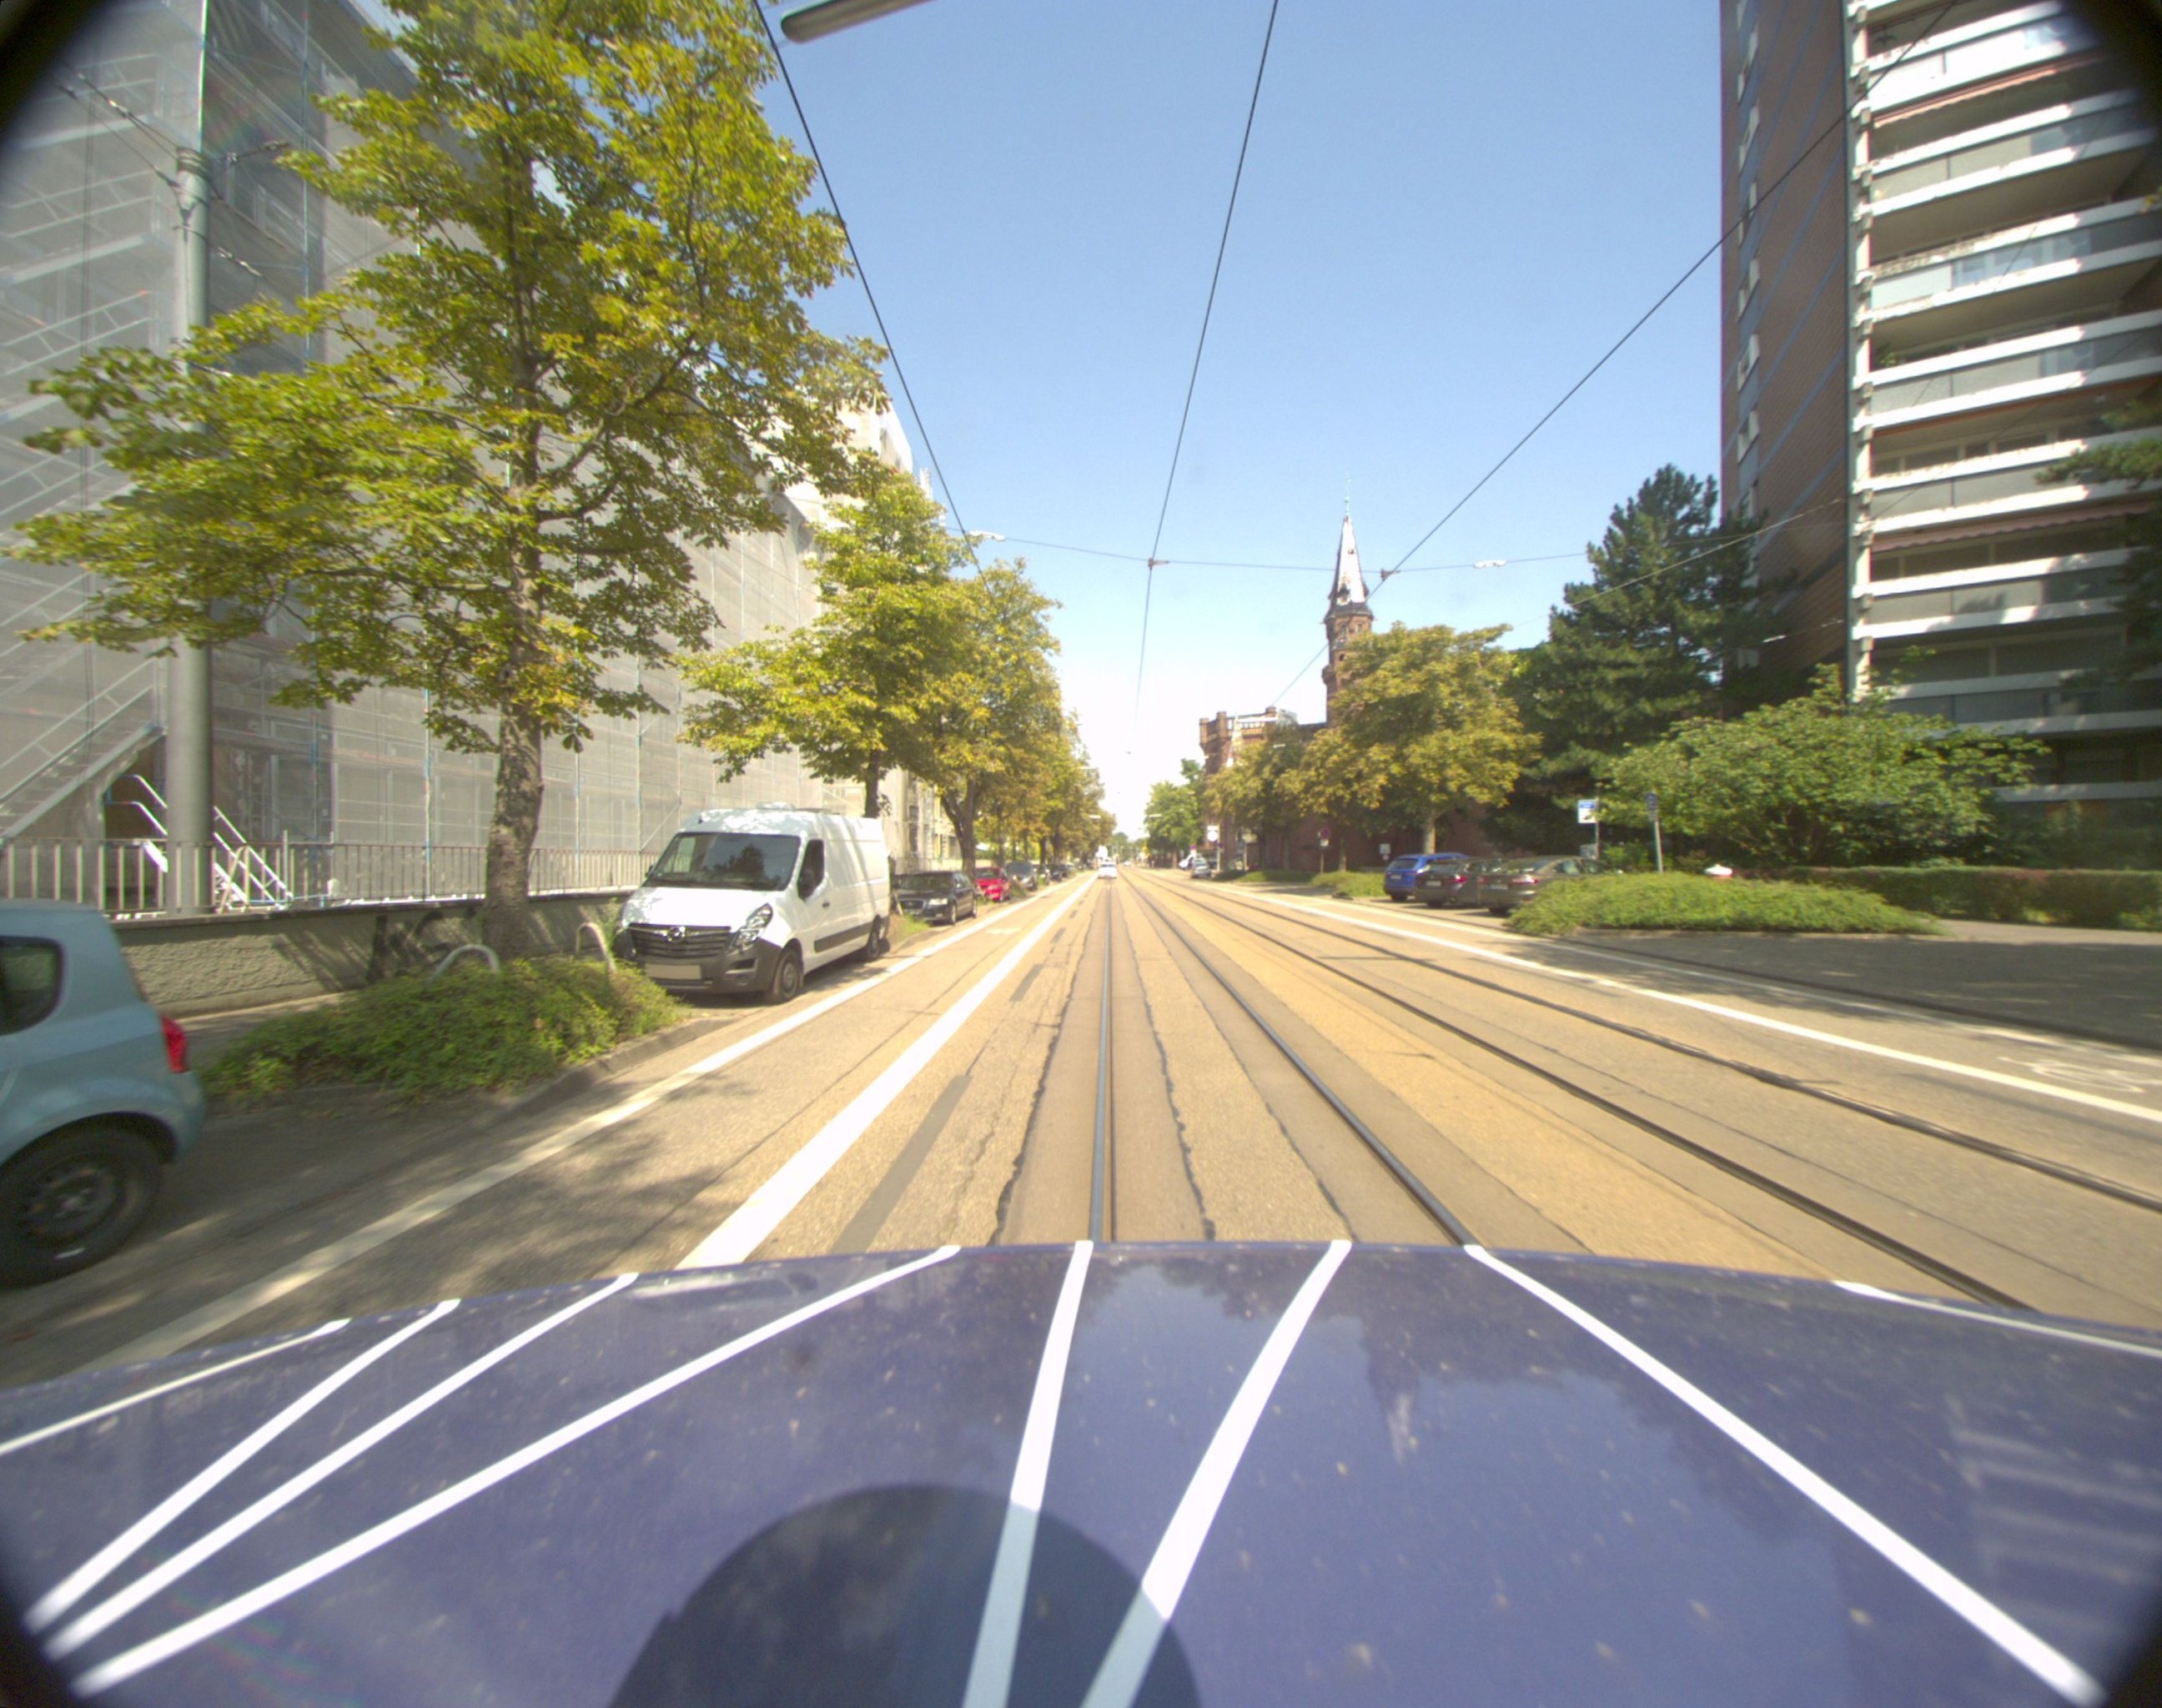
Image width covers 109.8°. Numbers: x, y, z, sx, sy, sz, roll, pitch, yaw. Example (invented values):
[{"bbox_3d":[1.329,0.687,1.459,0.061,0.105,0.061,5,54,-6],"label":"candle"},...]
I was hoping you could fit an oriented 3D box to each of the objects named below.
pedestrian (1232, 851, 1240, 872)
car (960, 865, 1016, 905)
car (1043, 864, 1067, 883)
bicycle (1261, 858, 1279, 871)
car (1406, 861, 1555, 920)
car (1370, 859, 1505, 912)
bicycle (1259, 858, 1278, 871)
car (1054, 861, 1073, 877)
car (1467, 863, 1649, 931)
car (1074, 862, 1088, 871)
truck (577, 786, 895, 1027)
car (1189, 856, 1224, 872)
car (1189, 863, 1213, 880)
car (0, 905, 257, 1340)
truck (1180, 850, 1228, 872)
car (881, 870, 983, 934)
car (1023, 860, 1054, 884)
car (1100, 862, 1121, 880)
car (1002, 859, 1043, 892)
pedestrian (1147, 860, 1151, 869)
[{"bbox_3d":[14.870,0.691,73.012,0.520,1.969,0.504,-2,1,-44],"label":"pedestrian"},{"bbox_3d":[-3.817,1.231,31.708,1.689,1.491,4.132,-1,0,2],"label":"car"},{"bbox_3d":[-2.228,1.675,65.075,1.644,1.561,4.085,1,-1,3],"label":"car"},{"bbox_3d":[16.576,0.921,66.664,1.448,1.056,0.377,-6,1,-8],"label":"bicycle"},{"bbox_3d":[11.766,1.019,22.370,4.005,1.560,1.777,-1,0,-25],"label":"car"},{"bbox_3d":[12.044,1.015,25.691,4.004,1.638,1.839,-1,0,-21],"label":"car"},{"bbox_3d":[16.536,0.923,66.983,1.448,1.056,0.377,-6,1,-8],"label":"bicycle"},{"bbox_3d":[-1.776,1.506,77.097,1.642,1.464,3.994,2,0,2],"label":"car"},{"bbox_3d":[12.057,1.014,19.207,4.301,1.488,1.777,-1,0,-24],"label":"car"},{"bbox_3d":[0.014,2.044,125.560,1.998,1.521,4.001,-1,0,3],"label":"car"},{"bbox_3d":[-4.420,0.571,11.024,1.921,2.584,5.592,-1,0,1],"label":"truck"},{"bbox_3d":[17.158,1.372,104.233,4.407,1.787,2.001,-5,0,4],"label":"car"},{"bbox_3d":[11.381,1.667,72.500,1.939,1.493,4.516,-1,0,5],"label":"car"},{"bbox_3d":[-4.994,1.060,1.700,1.678,1.570,4.172,1,0,2],"label":"car"},{"bbox_3d":[17.831,1.024,110.283,6.509,2.509,2.318,-5,0,3],"label":"truck"},{"bbox_3d":[-3.995,1.239,21.195,1.689,1.432,4.804,-1,0,3],"label":"car"},{"bbox_3d":[-2.924,1.237,52.664,1.689,1.561,4.001,-1,0,3],"label":"car"},{"bbox_3d":[2.699,1.561,70.322,1.824,1.483,4.019,-2,0,1],"label":"car"},{"bbox_3d":[-3.191,1.138,42.301,1.766,1.678,4.649,-1,0,1],"label":"car"},{"bbox_3d":[13.080,2.005,146.729,0.736,1.837,0.828,-1,0,3],"label":"pedestrian"}]
